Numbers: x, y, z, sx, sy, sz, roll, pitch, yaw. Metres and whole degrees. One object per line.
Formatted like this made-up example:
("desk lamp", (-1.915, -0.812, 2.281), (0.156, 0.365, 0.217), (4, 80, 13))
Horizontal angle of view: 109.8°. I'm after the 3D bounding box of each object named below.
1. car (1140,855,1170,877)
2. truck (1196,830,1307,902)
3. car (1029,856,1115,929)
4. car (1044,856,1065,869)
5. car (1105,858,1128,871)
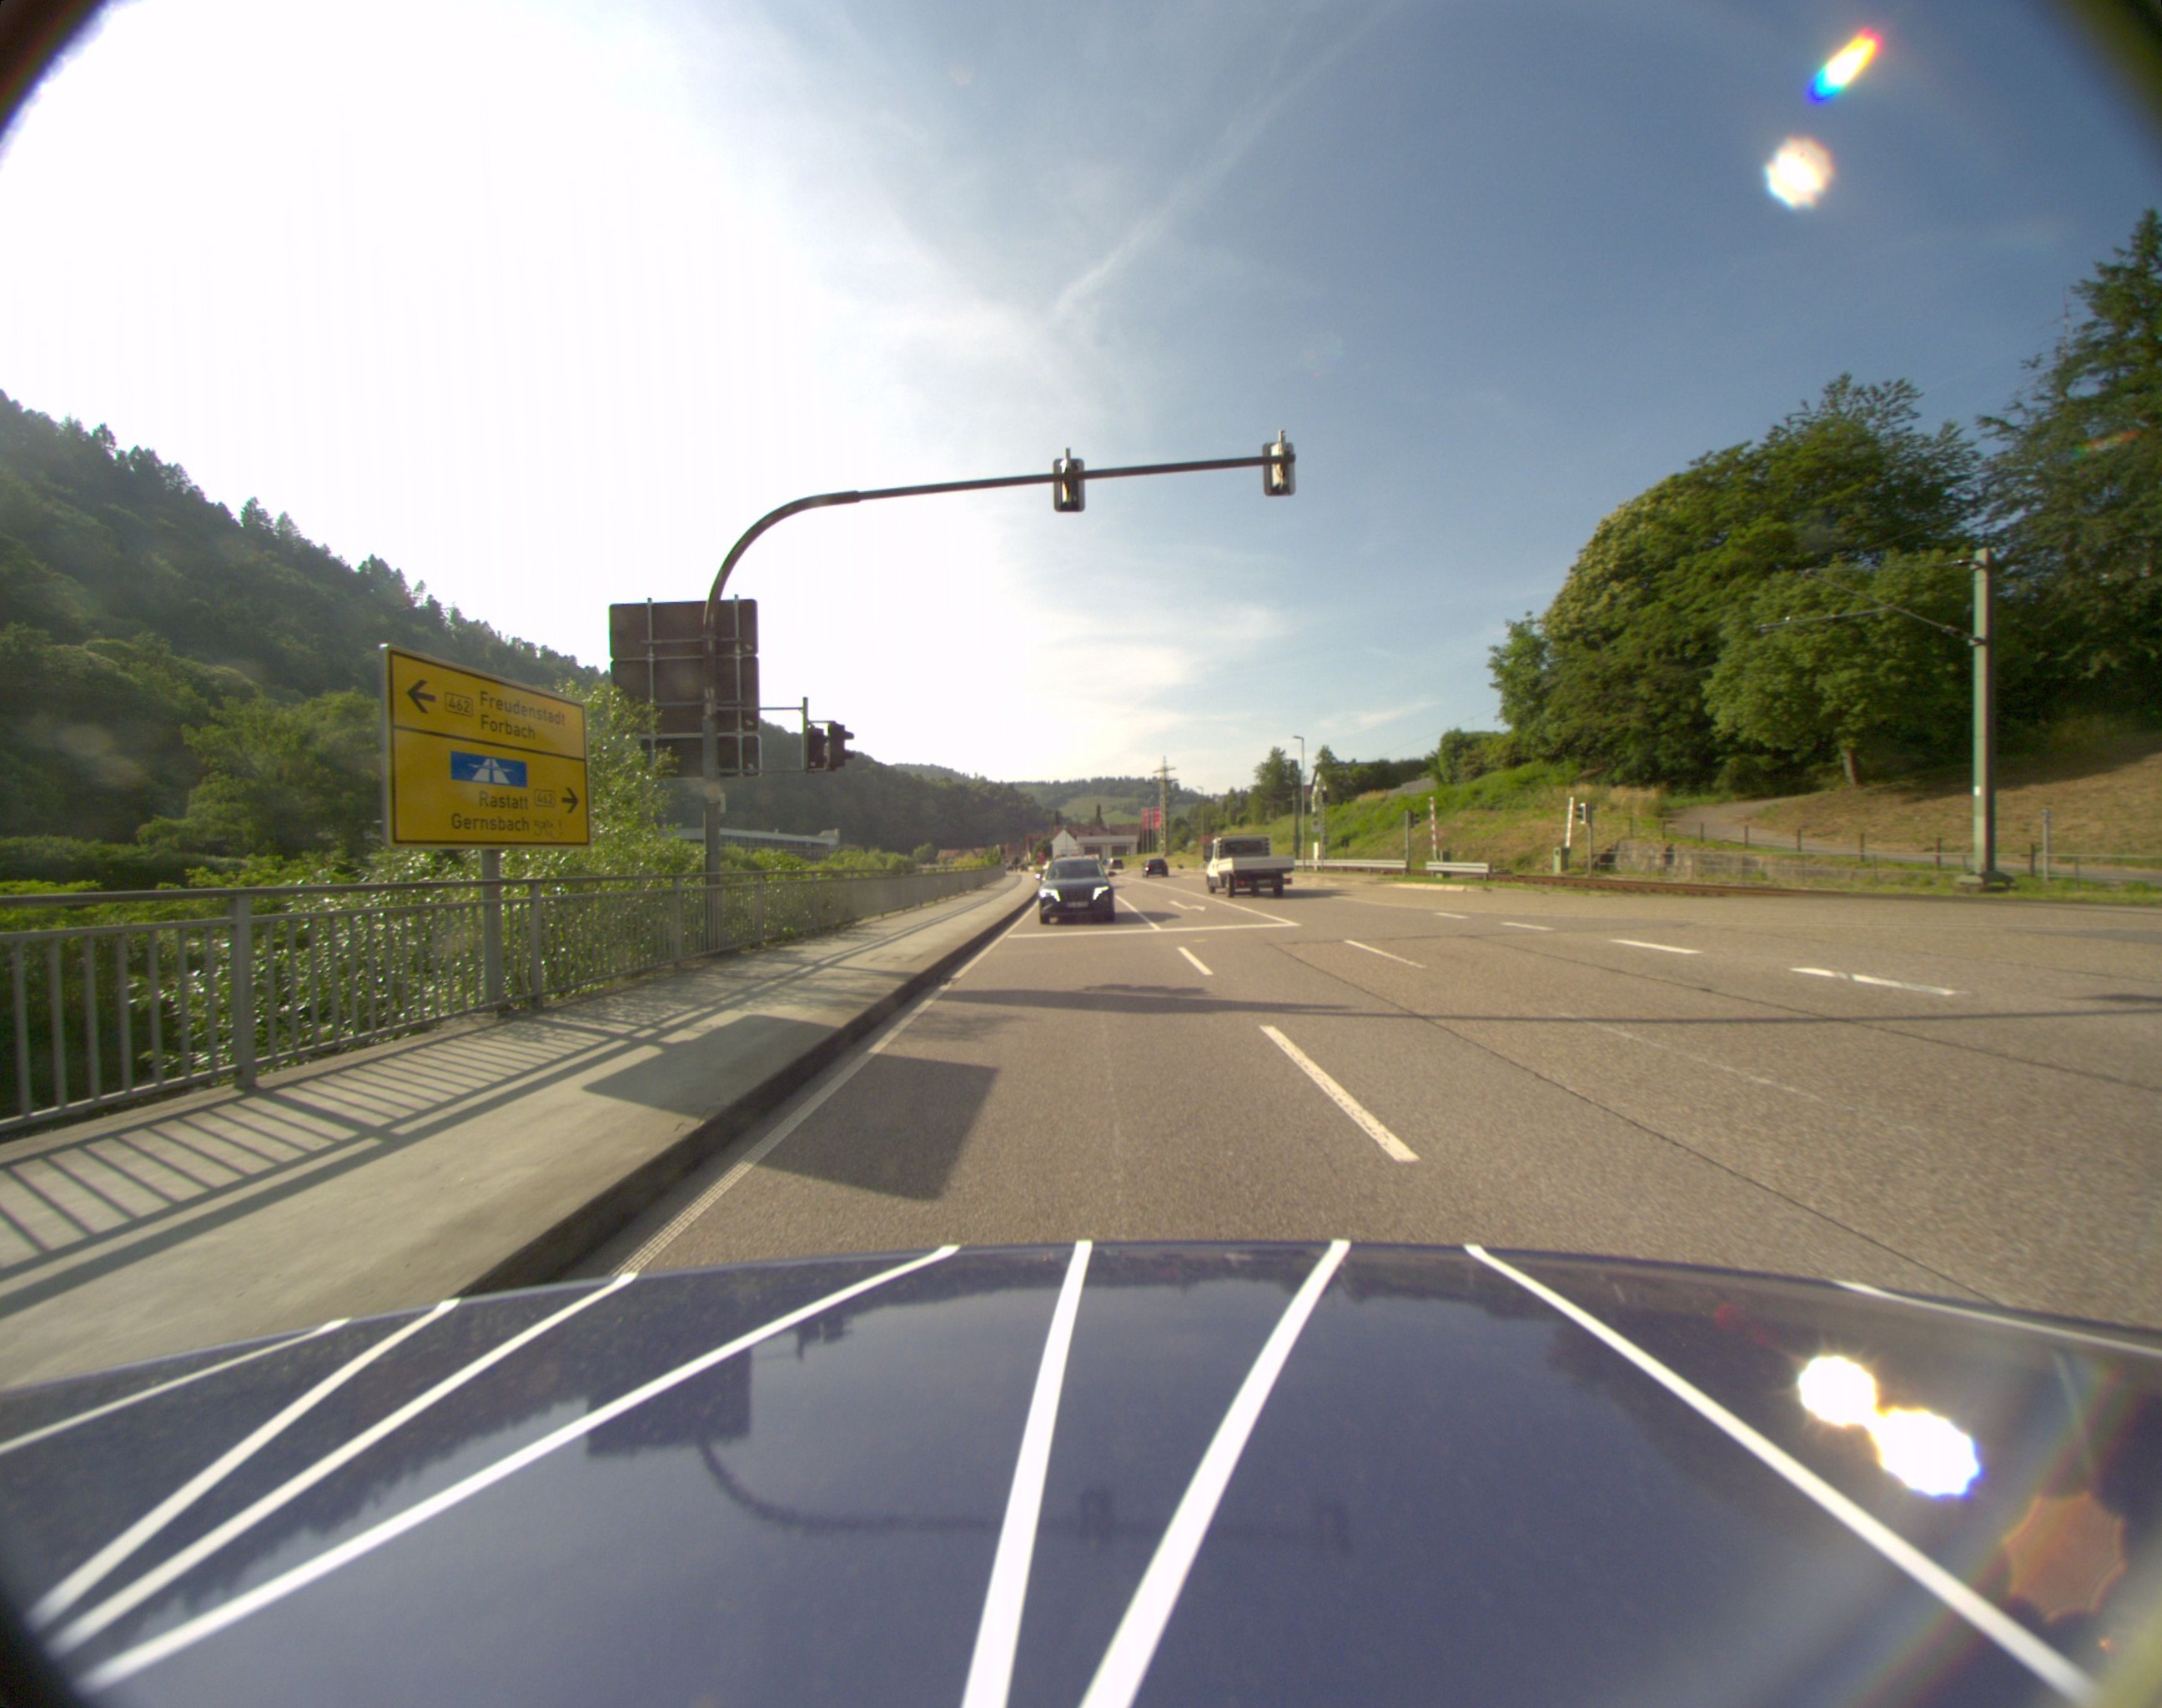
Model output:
("car", (5.514, 0.896, 57.082), (1.691, 1.477, 3.999), (-3, 0, -1))
("truck", (6.132, 0.395, 28.272), (2.453, 2.252, 6.279), (-3, 0, -2))
("car", (-0.197, 0.939, 20.790), (1.998, 1.661, 5.511), (-2, 0, 0))
("car", (-4.376, 1.449, 125.596), (2.002, 2.002, 3.993), (-4, 1, -23))
("car", (4.569, 1.331, 99.411), (2.000, 1.521, 3.996), (-4, 1, -12))
